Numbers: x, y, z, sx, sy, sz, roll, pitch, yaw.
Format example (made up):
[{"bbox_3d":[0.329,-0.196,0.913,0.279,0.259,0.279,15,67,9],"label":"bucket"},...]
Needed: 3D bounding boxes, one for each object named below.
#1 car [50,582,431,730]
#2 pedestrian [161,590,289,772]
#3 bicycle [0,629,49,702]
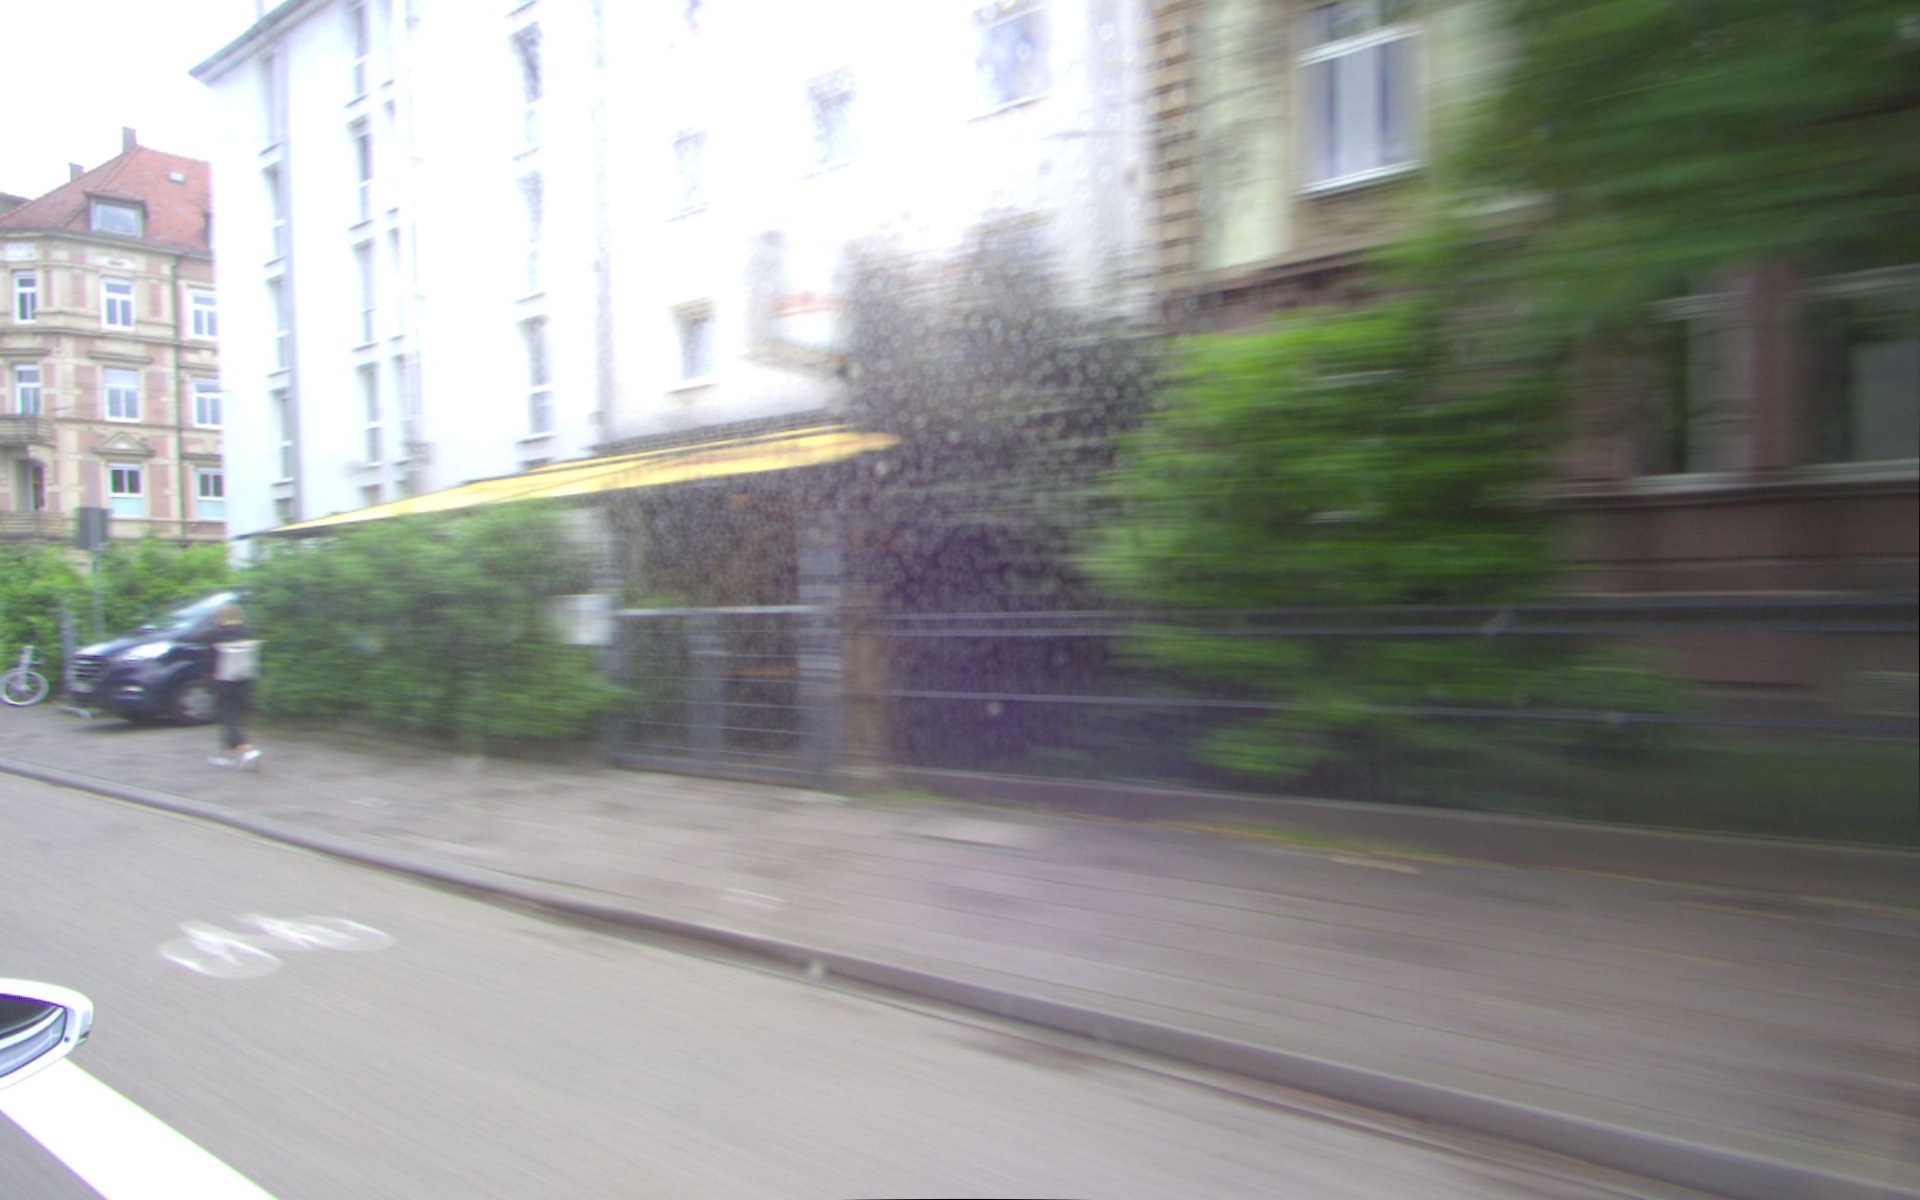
[{"bbox_3d":[-10.601,0.694,15.095,1.799,1.834,4.267,0,2,34],"label":"car"},{"bbox_3d":[-7.307,0.768,9.961,0.946,1.694,0.621,0,4,32],"label":"pedestrian"},{"bbox_3d":[-16.499,1.101,17.295,1.786,1.143,0.631,0,3,33],"label":"bicycle"}]
